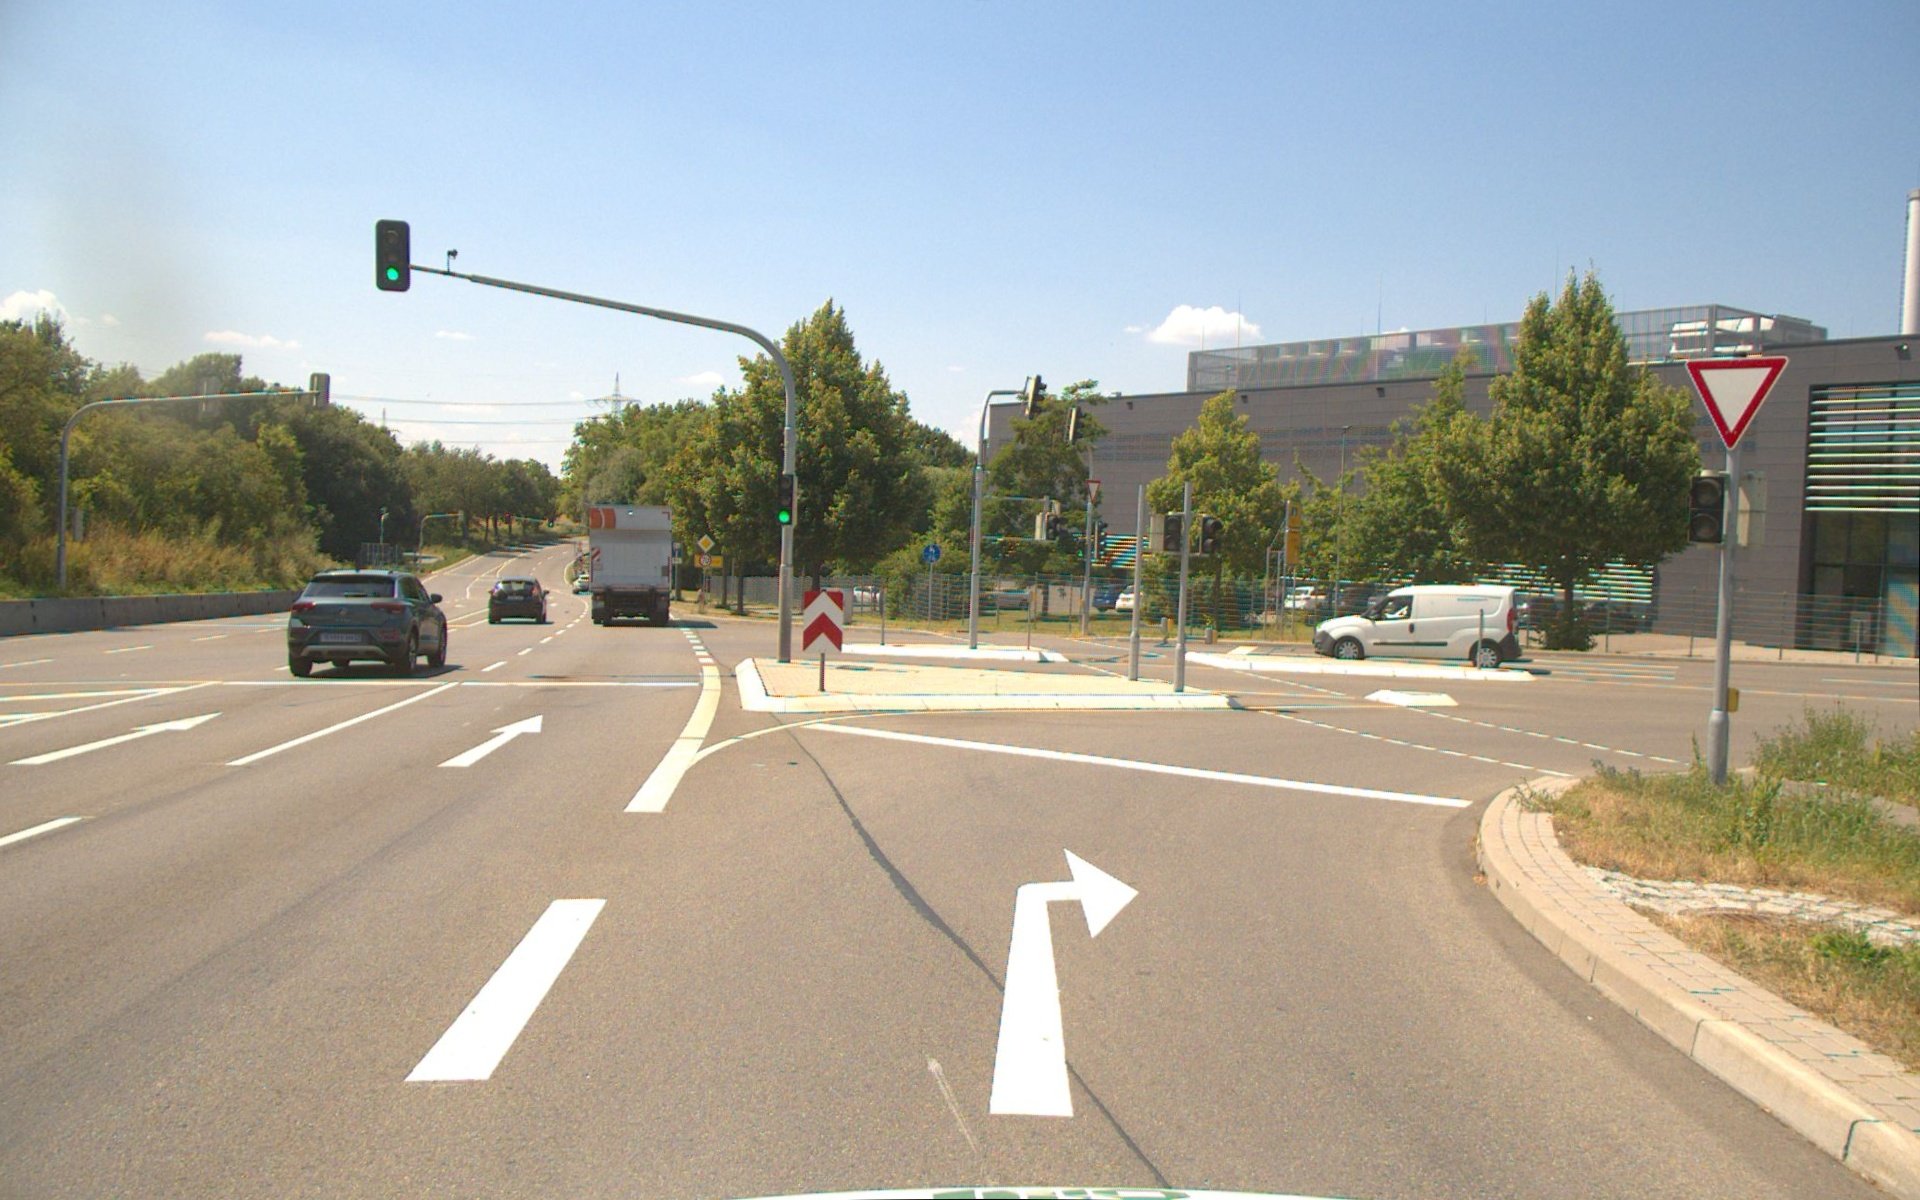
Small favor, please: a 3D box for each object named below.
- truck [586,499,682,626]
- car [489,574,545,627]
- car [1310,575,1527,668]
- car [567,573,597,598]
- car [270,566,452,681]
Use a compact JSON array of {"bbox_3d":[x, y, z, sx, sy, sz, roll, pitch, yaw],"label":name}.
[{"bbox_3d":[-10.771,-1.243,54.509,2.754,3.775,9.082,1,1,-12],"label":"truck"},{"bbox_3d":[-14.335,-0.001,53.655,1.625,1.519,4.193,1,2,-14],"label":"car"},{"bbox_3d":[10.610,0.463,38.212,4.647,1.966,2.154,1,0,20],"label":"car"},{"bbox_3d":[-29.593,-1.129,129.559,1.913,1.693,3.982,4,1,-17],"label":"car"},{"bbox_3d":[-9.166,0.310,25.665,1.800,1.614,4.383,1,1,-9],"label":"car"}]
